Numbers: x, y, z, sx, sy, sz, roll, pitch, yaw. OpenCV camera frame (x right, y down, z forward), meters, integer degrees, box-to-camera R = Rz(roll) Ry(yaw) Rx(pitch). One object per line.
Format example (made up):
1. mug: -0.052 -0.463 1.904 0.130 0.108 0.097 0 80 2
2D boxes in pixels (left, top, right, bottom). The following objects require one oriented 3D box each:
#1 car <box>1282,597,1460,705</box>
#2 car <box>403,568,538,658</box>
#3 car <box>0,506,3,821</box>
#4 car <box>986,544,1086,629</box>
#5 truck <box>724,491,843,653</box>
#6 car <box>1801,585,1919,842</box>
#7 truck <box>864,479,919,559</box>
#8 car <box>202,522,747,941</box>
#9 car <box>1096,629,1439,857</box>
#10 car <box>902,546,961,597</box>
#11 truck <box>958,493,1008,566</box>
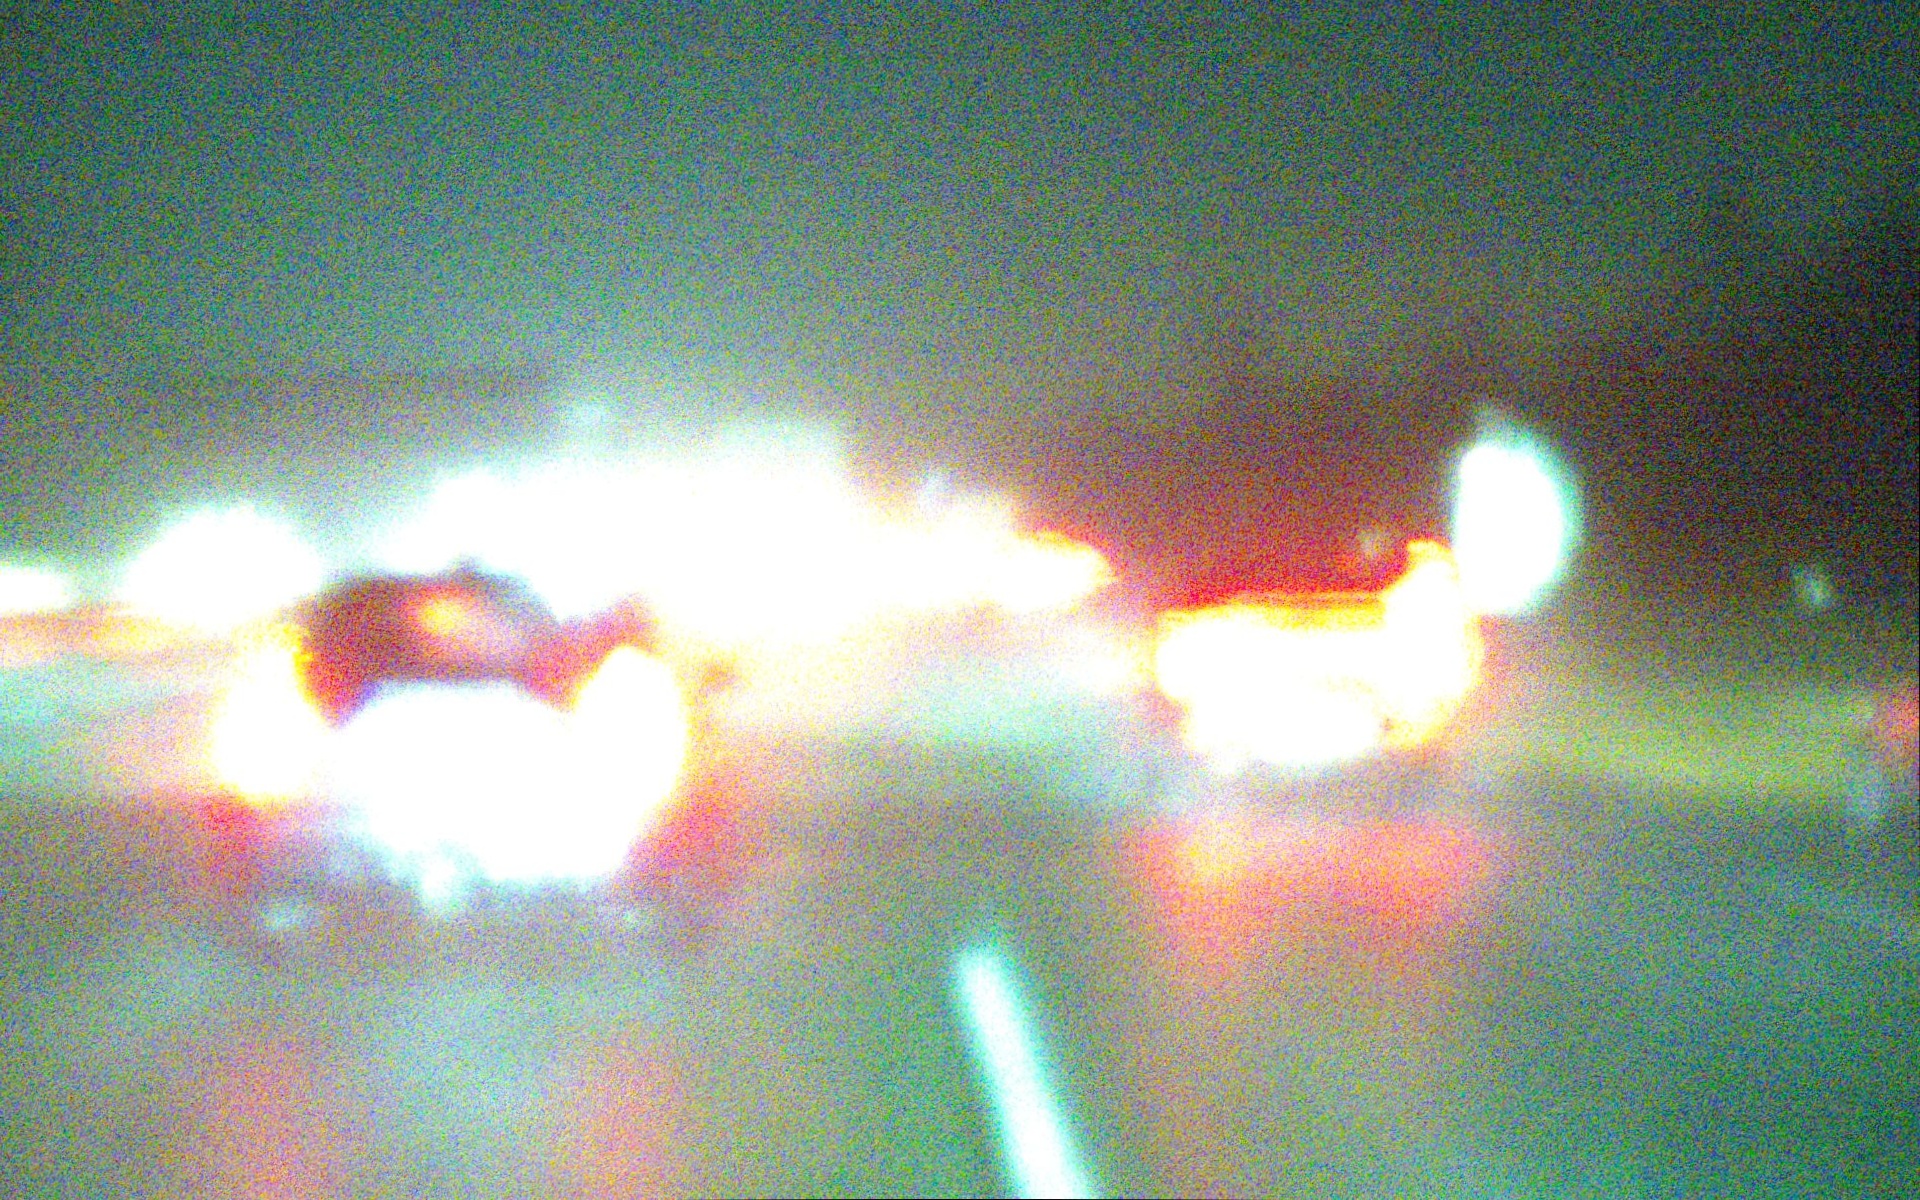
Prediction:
1. car: 5.155 0.621 43.391 1.580 1.242 3.069 1 1 -6
2. car: -7.302 0.178 51.540 1.662 1.232 3.762 -2 0 -3
3. car: -5.540 0.376 14.404 1.858 1.535 4.751 1 2 -2
4. car: 1.498 -0.289 69.216 1.863 1.612 4.000 1 1 0
5. truck: -3.503 -0.571 69.286 1.993 3.032 6.465 -2 0 0
6. car: 5.487 0.577 17.100 1.580 1.242 3.069 1 1 -6
7. truck: -2.725 -3.219 138.270 1.993 3.032 6.465 -2 0 0
8. car: -1.849 0.432 14.229 1.801 1.482 4.000 0 1 -2
9. car: 1.865 0.851 21.641 1.580 1.242 3.069 1 1 -6
10. car: -0.926 -0.931 112.718 1.863 1.612 4.000 1 1 0
11. truck: 0.991 -3.065 151.219 1.993 3.032 6.465 -2 0 0
